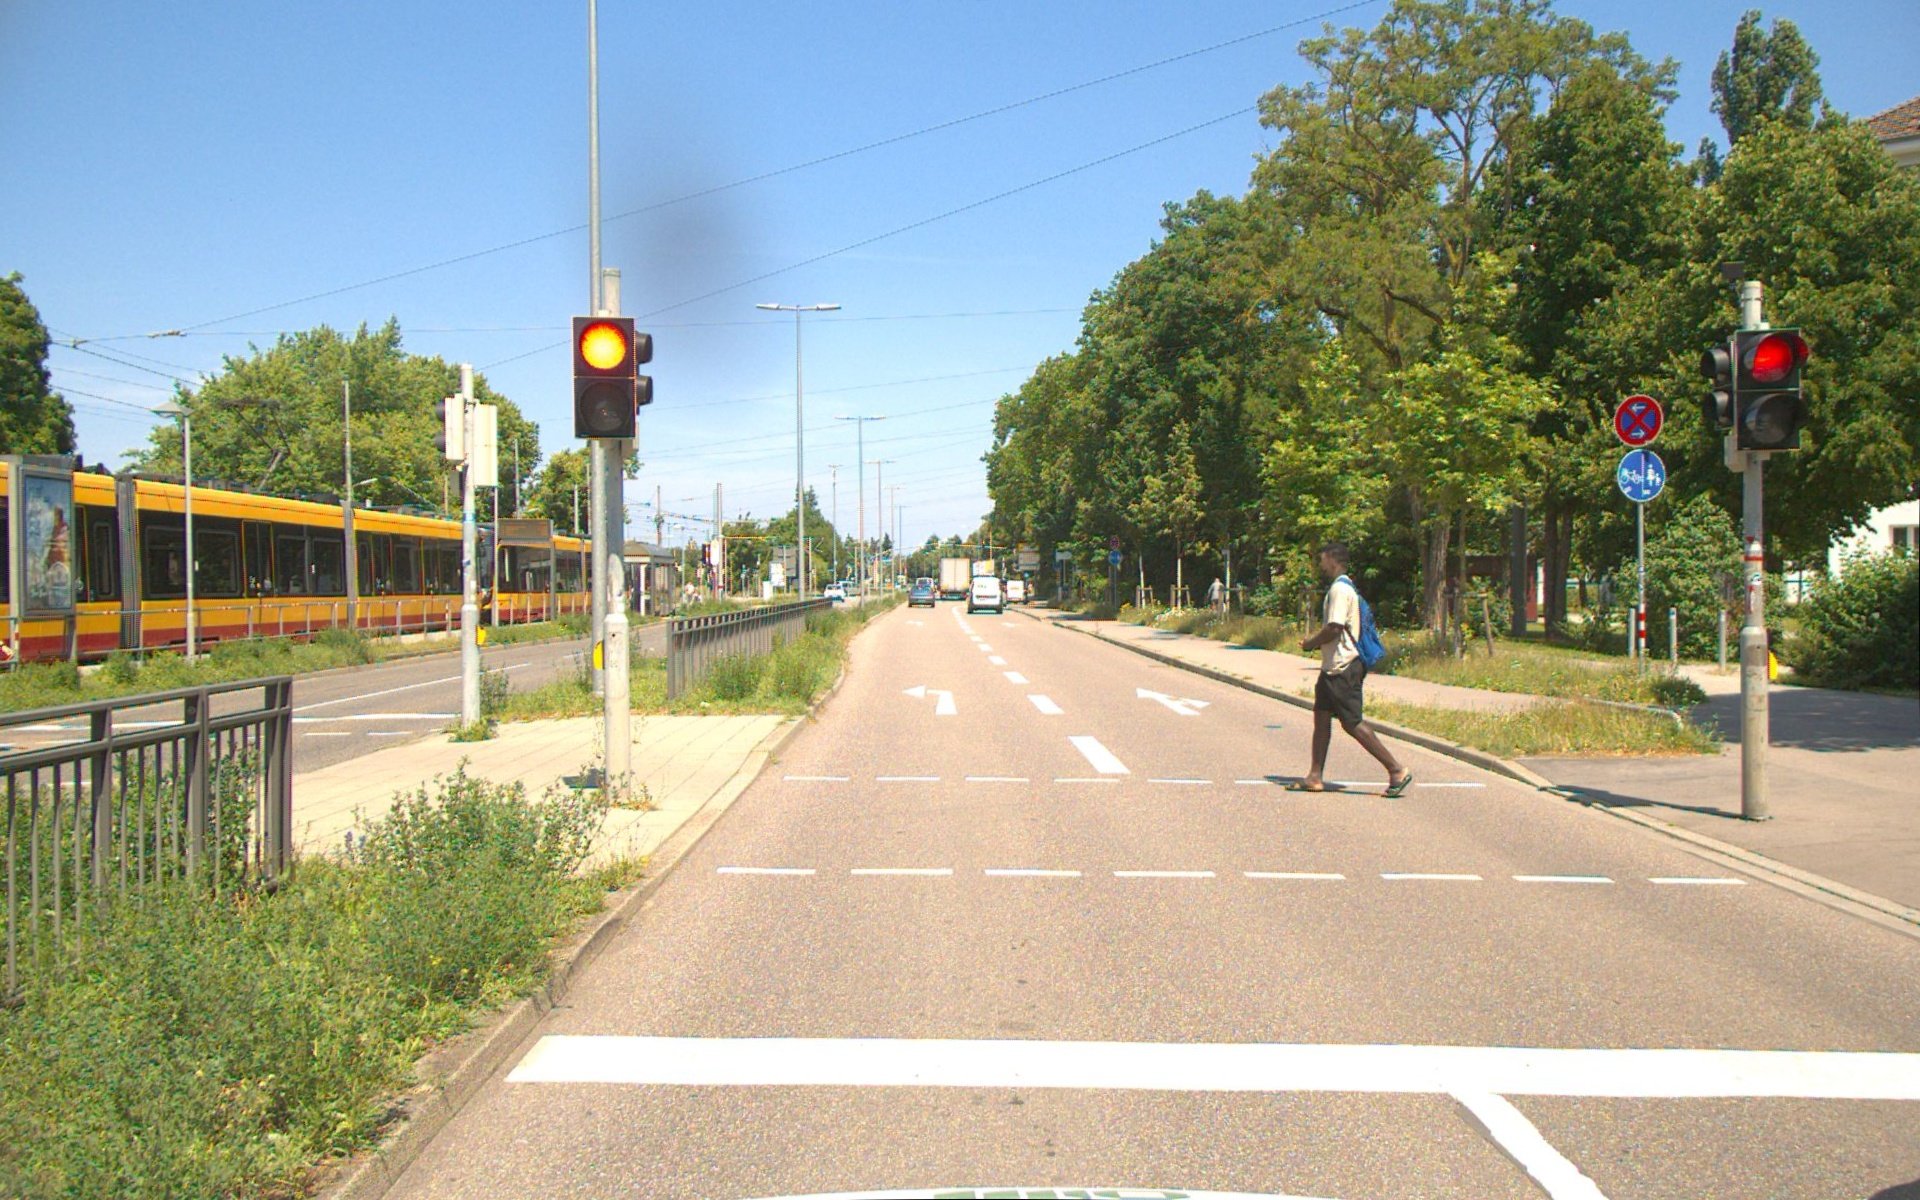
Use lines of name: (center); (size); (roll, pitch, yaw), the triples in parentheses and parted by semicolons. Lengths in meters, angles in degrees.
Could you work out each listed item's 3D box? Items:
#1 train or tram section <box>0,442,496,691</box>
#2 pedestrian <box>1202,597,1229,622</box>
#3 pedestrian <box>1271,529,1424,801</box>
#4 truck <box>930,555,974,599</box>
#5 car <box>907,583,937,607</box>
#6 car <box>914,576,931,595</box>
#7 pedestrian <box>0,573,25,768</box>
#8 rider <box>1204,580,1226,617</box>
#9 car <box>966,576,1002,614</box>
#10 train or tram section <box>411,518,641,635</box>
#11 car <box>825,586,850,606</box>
train or tram section: (-15.882, -0.581, 34.061); (2.731, 3.732, 37.511); (0, 0, -1)
pedestrian: (9.076, 0.330, 58.809); (0.664, 0.862, 1.773); (0, 0, -1)
pedestrian: (2.801, 0.445, 11.955); (1.024, 1.882, 0.758); (0, 0, 14)
truck: (-0.823, -2.073, 150.676); (3.820, 3.879, 10.790); (0, 1, -1)
car: (-2.345, -0.329, 103.485); (1.764, 1.512, 4.000); (0, 1, 1)
car: (-3.794, -1.486, 166.566); (1.653, 1.930, 3.869); (0, 1, -1)
pedestrian: (-9.454, 0.658, 15.614); (0.939, 1.828, 0.704); (0, 0, 28)
rider: (9.066, -0.050, 58.807); (0.664, 1.304, 0.533); (0, 0, -1)
car: (1.240, -0.286, 83.894); (1.692, 1.845, 4.001); (1, 1, 2)
train or tram section: (-16.377, -0.851, 65.853); (2.731, 3.732, 25.994); (0, 0, -1)
car: (-10.510, -0.318, 141.987); (1.953, 1.678, 3.999); (0, 1, -1)
